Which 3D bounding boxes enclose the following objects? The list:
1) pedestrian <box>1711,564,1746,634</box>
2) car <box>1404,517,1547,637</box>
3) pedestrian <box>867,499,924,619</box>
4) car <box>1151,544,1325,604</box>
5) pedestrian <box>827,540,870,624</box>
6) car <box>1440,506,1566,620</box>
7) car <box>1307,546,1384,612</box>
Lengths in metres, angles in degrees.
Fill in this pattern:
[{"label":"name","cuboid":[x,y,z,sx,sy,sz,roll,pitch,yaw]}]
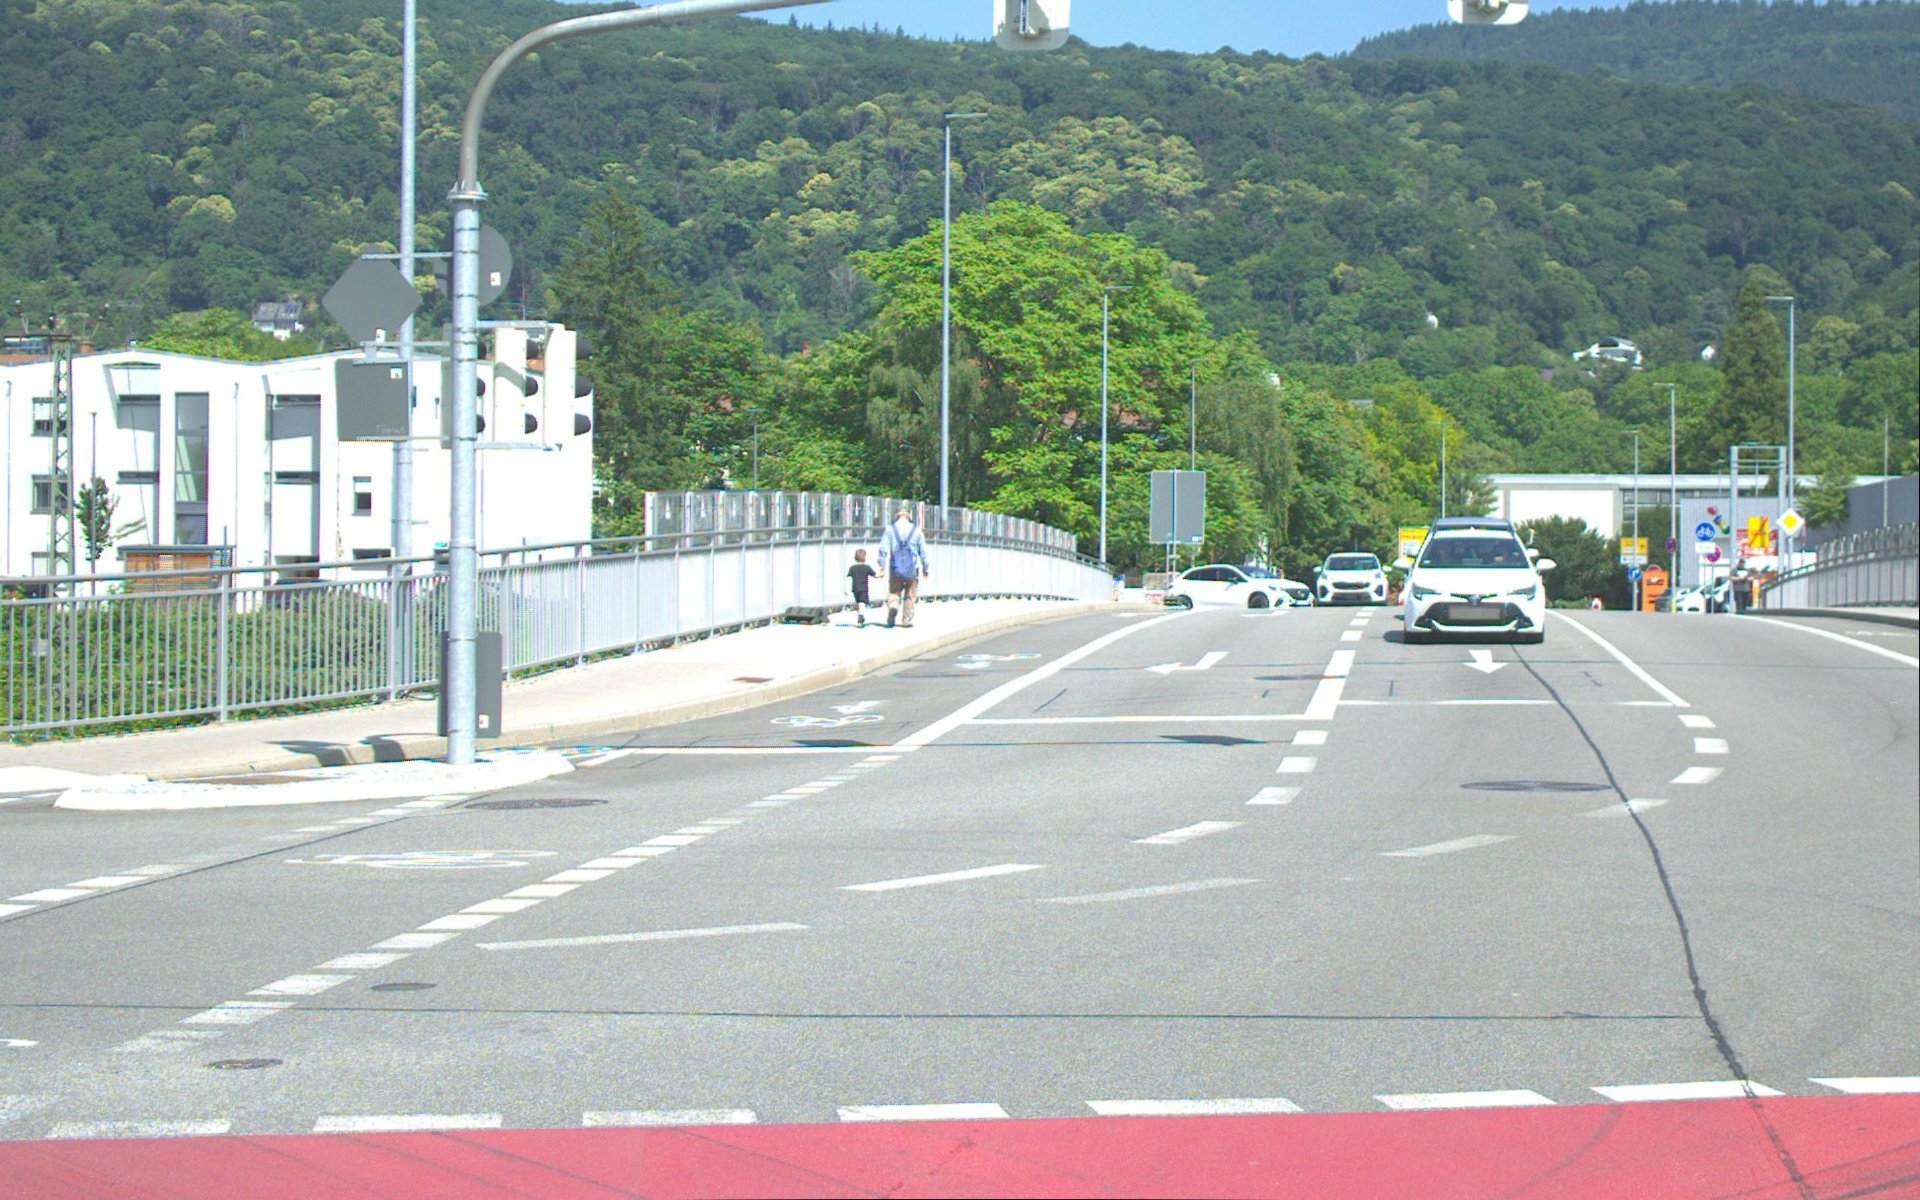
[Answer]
[{"label":"pedestrian","cuboid":[22.223,-0.028,99.372,0.855,2.007,1.155,1,1,7]},{"label":"car","cuboid":[6.667,-0.322,44.745,1.731,1.464,4.409,1,1,8]},{"label":"pedestrian","cuboid":[-0.874,-0.562,46.710,0.643,1.612,0.920,1,1,7]},{"label":"car","cuboid":[8.303,-0.782,103.080,5.058,1.713,1.995,1,1,43]},{"label":"pedestrian","cuboid":[-1.510,-0.247,46.592,0.511,1.117,0.476,1,1,7]},{"label":"car","cuboid":[8.102,-0.567,51.546,1.731,1.621,4.441,1,1,8]},{"label":"car","cuboid":[10.332,-0.581,92.256,1.994,1.713,4.632,1,1,6]}]
